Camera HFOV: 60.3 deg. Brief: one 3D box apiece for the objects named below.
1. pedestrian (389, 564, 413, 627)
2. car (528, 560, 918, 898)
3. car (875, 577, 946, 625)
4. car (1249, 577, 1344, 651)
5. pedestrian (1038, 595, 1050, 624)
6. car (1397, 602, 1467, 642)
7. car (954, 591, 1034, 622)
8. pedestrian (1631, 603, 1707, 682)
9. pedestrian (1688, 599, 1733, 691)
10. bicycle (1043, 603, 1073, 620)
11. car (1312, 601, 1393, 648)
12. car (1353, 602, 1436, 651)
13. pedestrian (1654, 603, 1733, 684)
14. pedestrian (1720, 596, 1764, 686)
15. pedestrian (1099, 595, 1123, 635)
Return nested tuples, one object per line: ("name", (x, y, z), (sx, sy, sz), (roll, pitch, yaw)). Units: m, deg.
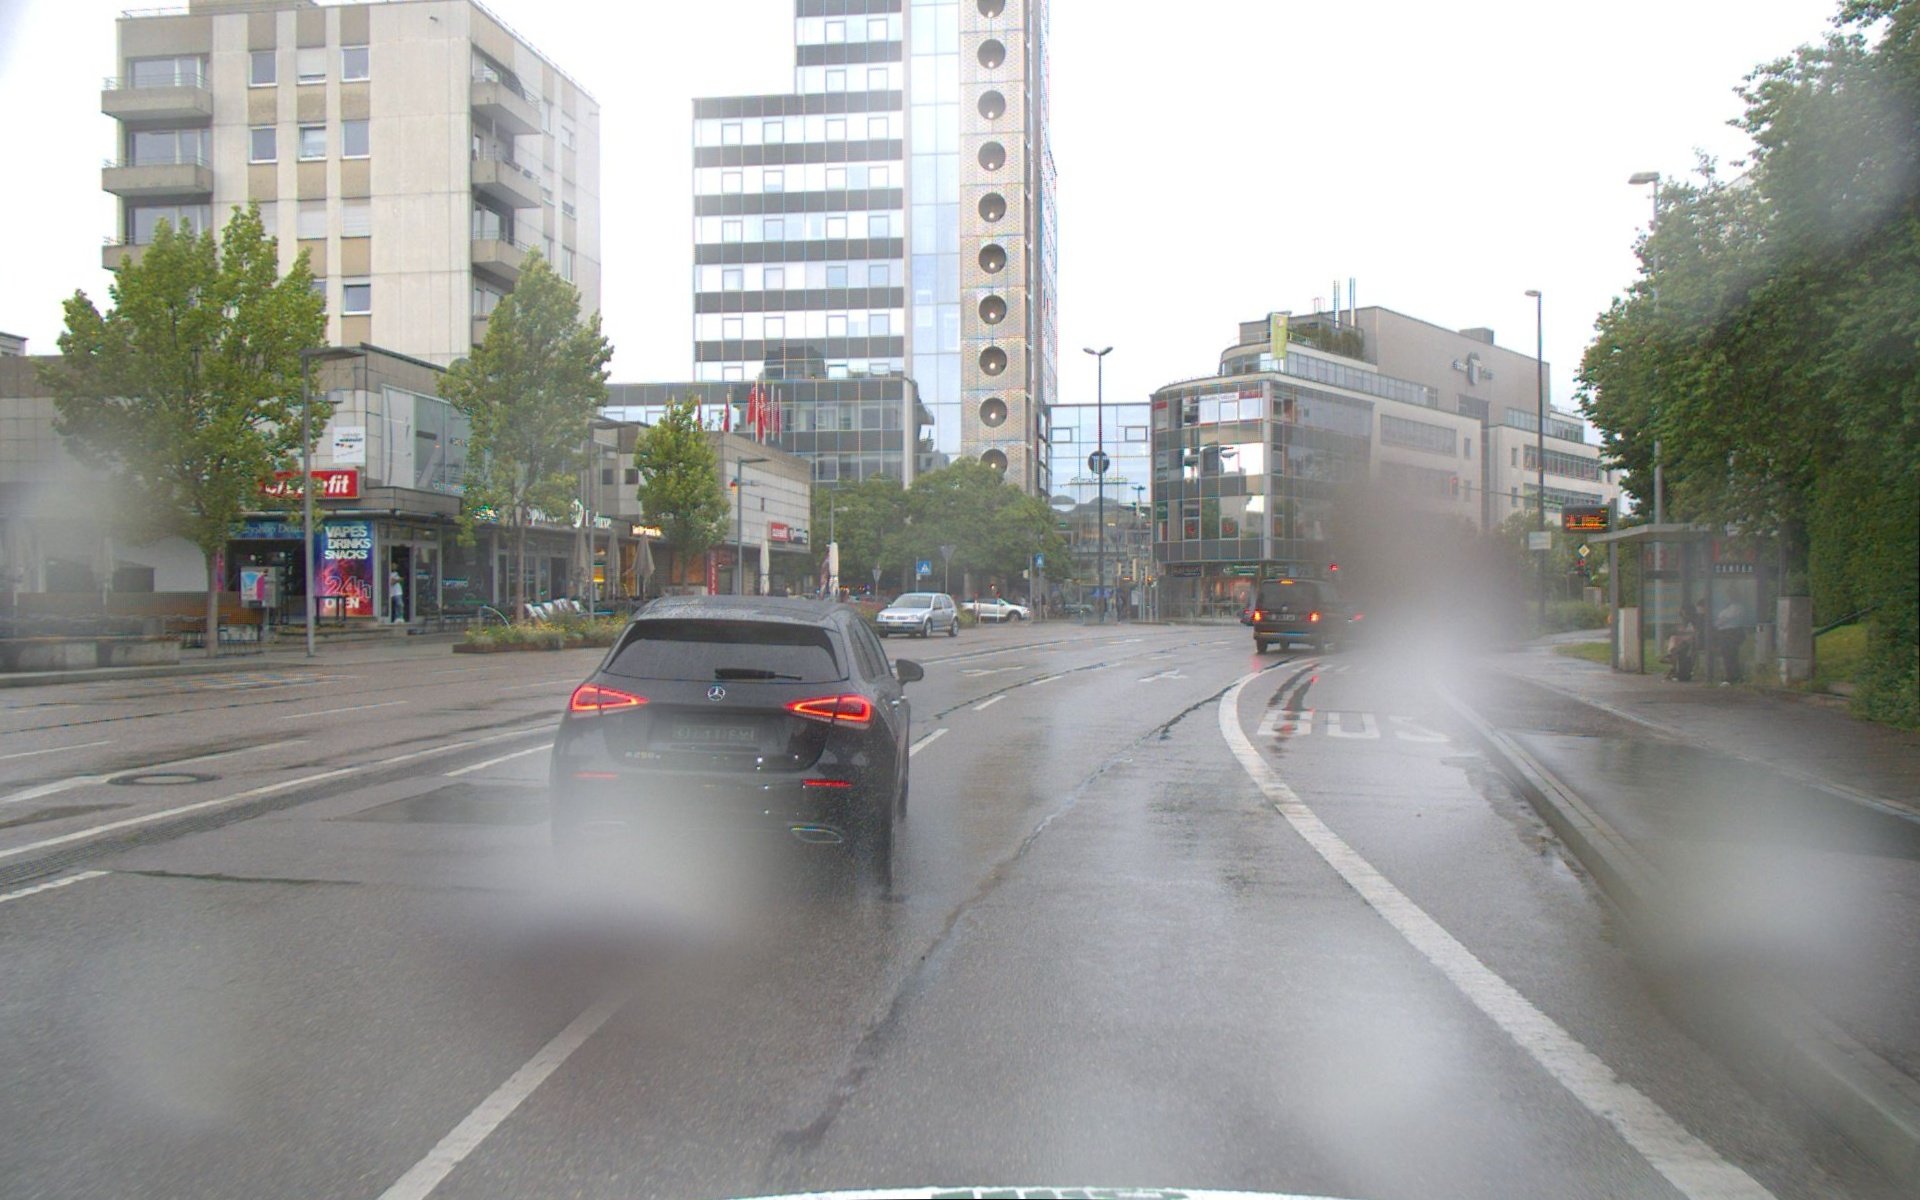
("pedestrian", (-16.586, -0.133, 49.073), (0.417, 1.880, 0.501), (1, -1, 19))
("car", (-1.151, 0.599, 9.635), (1.779, 1.556, 3.811), (1, 0, -1))
("car", (-1.579, 0.051, 54.104), (1.663, 1.492, 4.107), (0, -1, 8))
("car", (9.463, 0.419, 46.256), (1.954, 1.927, 4.588), (1, -1, 20))
("pedestrian", (5.921, 0.671, 116.758), (0.747, 2.049, 0.714), (1, -1, -1))
("car", (18.600, 0.857, 65.051), (1.604, 1.473, 4.259), (1, 0, 31))
("car", (1.913, 0.363, 92.305), (4.103, 1.623, 1.871), (1, 0, 15))
("pedestrian", (12.103, 0.721, 28.261), (1.007, 1.304, 0.692), (-2, -1, 7))
("pedestrian", (11.630, 0.692, 25.629), (0.538, 1.389, 0.406), (-1, -1, -39))
("bicycle", (7.294, 0.872, 123.061), (2.225, 1.268, 0.677), (0, -1, 6))
("car", (12.553, 0.765, 52.694), (1.599, 1.410, 4.511), (1, 0, 25))
("car", (15.504, 0.923, 58.812), (1.865, 1.649, 4.328), (1, 0, 28))
("pedestrian", (12.188, 0.719, 27.501), (1.007, 1.304, 0.692), (-2, -1, 7))
("pedestrian", (12.327, 0.638, 26.077), (0.538, 1.389, 0.405), (-1, -1, -40))
("pedestrian", (7.825, 0.762, 85.608), (1.138, 2.049, 1.328), (1, 0, 1))
